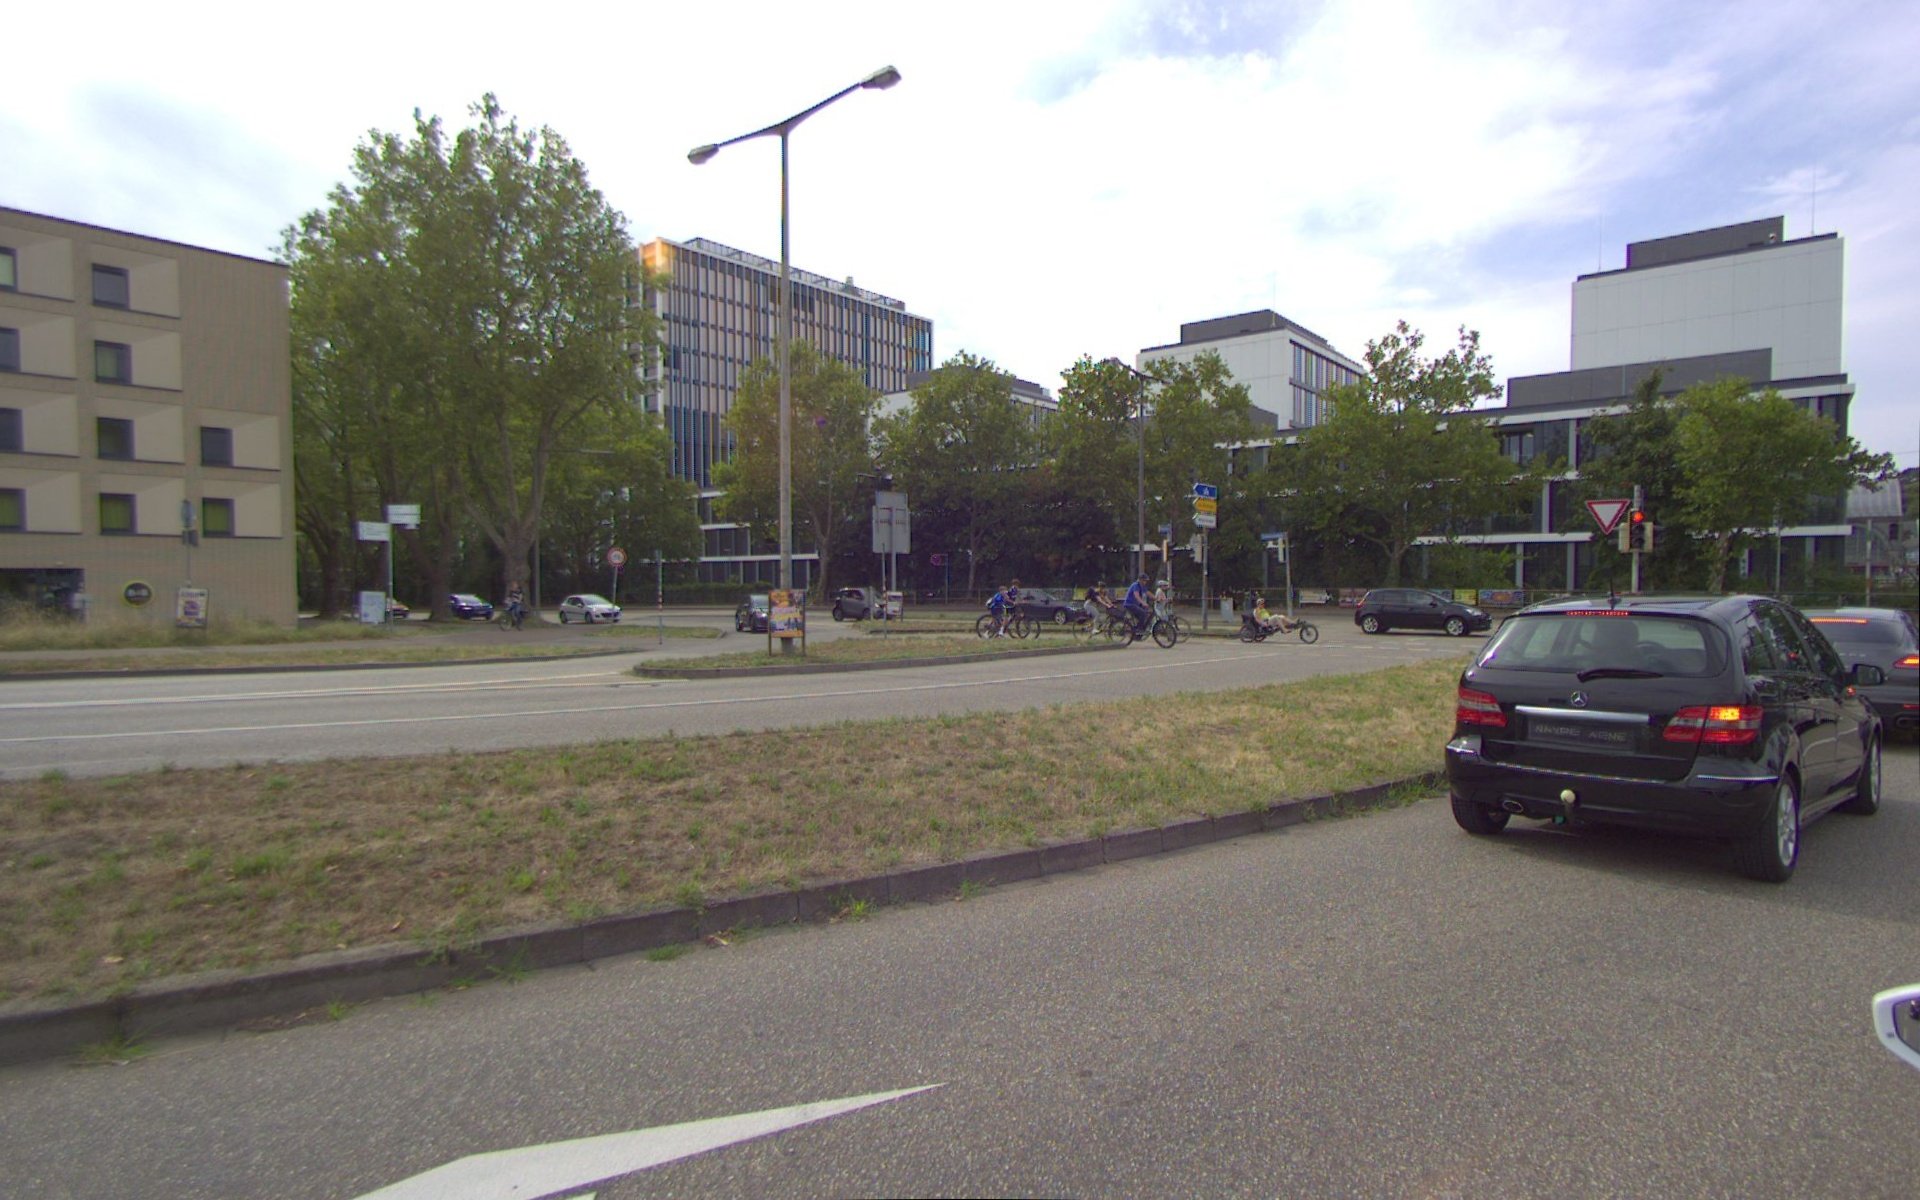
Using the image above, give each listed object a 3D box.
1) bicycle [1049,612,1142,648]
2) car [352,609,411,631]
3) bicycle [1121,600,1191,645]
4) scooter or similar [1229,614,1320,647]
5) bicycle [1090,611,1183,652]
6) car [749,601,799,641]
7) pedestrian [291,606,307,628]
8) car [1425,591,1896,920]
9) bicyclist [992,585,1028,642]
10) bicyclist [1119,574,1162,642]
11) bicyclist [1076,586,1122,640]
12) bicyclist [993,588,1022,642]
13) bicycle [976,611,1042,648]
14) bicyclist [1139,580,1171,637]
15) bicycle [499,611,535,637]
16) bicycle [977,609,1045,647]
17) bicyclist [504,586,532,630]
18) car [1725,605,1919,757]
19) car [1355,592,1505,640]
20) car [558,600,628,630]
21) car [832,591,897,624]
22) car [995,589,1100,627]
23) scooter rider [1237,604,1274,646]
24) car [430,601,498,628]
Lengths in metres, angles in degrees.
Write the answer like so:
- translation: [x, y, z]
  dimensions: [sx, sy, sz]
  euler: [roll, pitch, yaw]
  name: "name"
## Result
- translation: [3.729, 0.801, 27.772]
  dimensions: [2.551, 0.902, 0.702]
  euler: [1, 1, 38]
  name: "bicycle"
- translation: [-40.162, 1.395, 69.692]
  dimensions: [4.144, 1.399, 1.944]
  euler: [1, 0, 35]
  name: "car"
- translation: [5.525, 0.612, 28.350]
  dimensions: [1.870, 1.226, 0.643]
  euler: [0, 1, 22]
  name: "bicycle"
- translation: [8.797, 0.844, 28.108]
  dimensions: [2.341, 0.861, 0.808]
  euler: [0, 1, 24]
  name: "scooter or similar"
- translation: [4.508, 0.787, 25.708]
  dimensions: [2.195, 0.965, 0.810]
  euler: [0, 0, 29]
  name: "bicycle"
- translation: [-7.217, 0.768, 38.752]
  dimensions: [1.767, 1.438, 3.990]
  euler: [1, 0, -12]
  name: "car"
- translation: [-34.526, 0.867, 52.474]
  dimensions: [0.454, 1.140, 0.502]
  euler: [0, 1, 7]
  name: "pedestrian"
- translation: [5.037, 0.766, 7.018]
  dimensions: [4.003, 1.596, 1.742]
  euler: [-1, 2, -41]
  name: "car"
- translation: [1.397, 0.362, 28.033]
  dimensions: [0.999, 1.560, 0.628]
  euler: [0, 1, 5]
  name: "bicyclist"
- translation: [4.604, 0.196, 25.654]
  dimensions: [0.868, 1.678, 0.810]
  euler: [1, 1, 29]
  name: "bicyclist"
- translation: [3.835, 0.352, 27.694]
  dimensions: [1.100, 1.456, 0.645]
  euler: [0, 1, 38]
  name: "bicyclist"
- translation: [1.379, 0.419, 29.069]
  dimensions: [0.824, 1.550, 0.629]
  euler: [0, 1, 5]
  name: "bicyclist"
- translation: [1.425, 0.841, 29.073]
  dimensions: [1.869, 1.027, 0.629]
  euler: [0, 1, 5]
  name: "bicycle"
- translation: [5.508, 0.227, 28.339]
  dimensions: [0.766, 1.602, 0.654]
  euler: [0, 1, 21]
  name: "bicyclist"
- translation: [-16.688, 0.893, 37.874]
  dimensions: [0.728, 0.921, 2.116]
  euler: [0, 0, -8]
  name: "bicycle"
- translation: [1.421, 0.787, 28.038]
  dimensions: [1.869, 1.027, 0.628]
  euler: [0, 1, 5]
  name: "bicycle"
- translation: [-16.679, 0.305, 37.913]
  dimensions: [0.728, 1.636, 0.919]
  euler: [0, 1, -9]
  name: "bicyclist"
- translation: [10.595, 0.810, 12.103]
  dimensions: [1.798, 1.433, 4.750]
  euler: [2, 1, 42]
  name: "car"
- translation: [14.694, 0.458, 31.466]
  dimensions: [4.003, 1.386, 1.697]
  euler: [1, 1, 36]
  name: "car"
- translation: [-19.413, 0.766, 53.040]
  dimensions: [3.816, 1.464, 1.724]
  euler: [1, 0, 38]
  name: "car"
- translation: [-4.355, 0.333, 45.903]
  dimensions: [2.676, 1.441, 1.493]
  euler: [1, 1, 37]
  name: "car"
- translation: [3.537, 0.300, 40.942]
  dimensions: [4.008, 1.470, 1.695]
  euler: [1, 1, 40]
  name: "car"
- translation: [8.336, 0.687, 28.303]
  dimensions: [0.899, 1.152, 0.808]
  euler: [0, 1, 24]
  name: "scooter rider"
- translation: [-30.689, 0.857, 62.112]
  dimensions: [4.389, 1.581, 1.943]
  euler: [1, 0, 35]
  name: "car"
